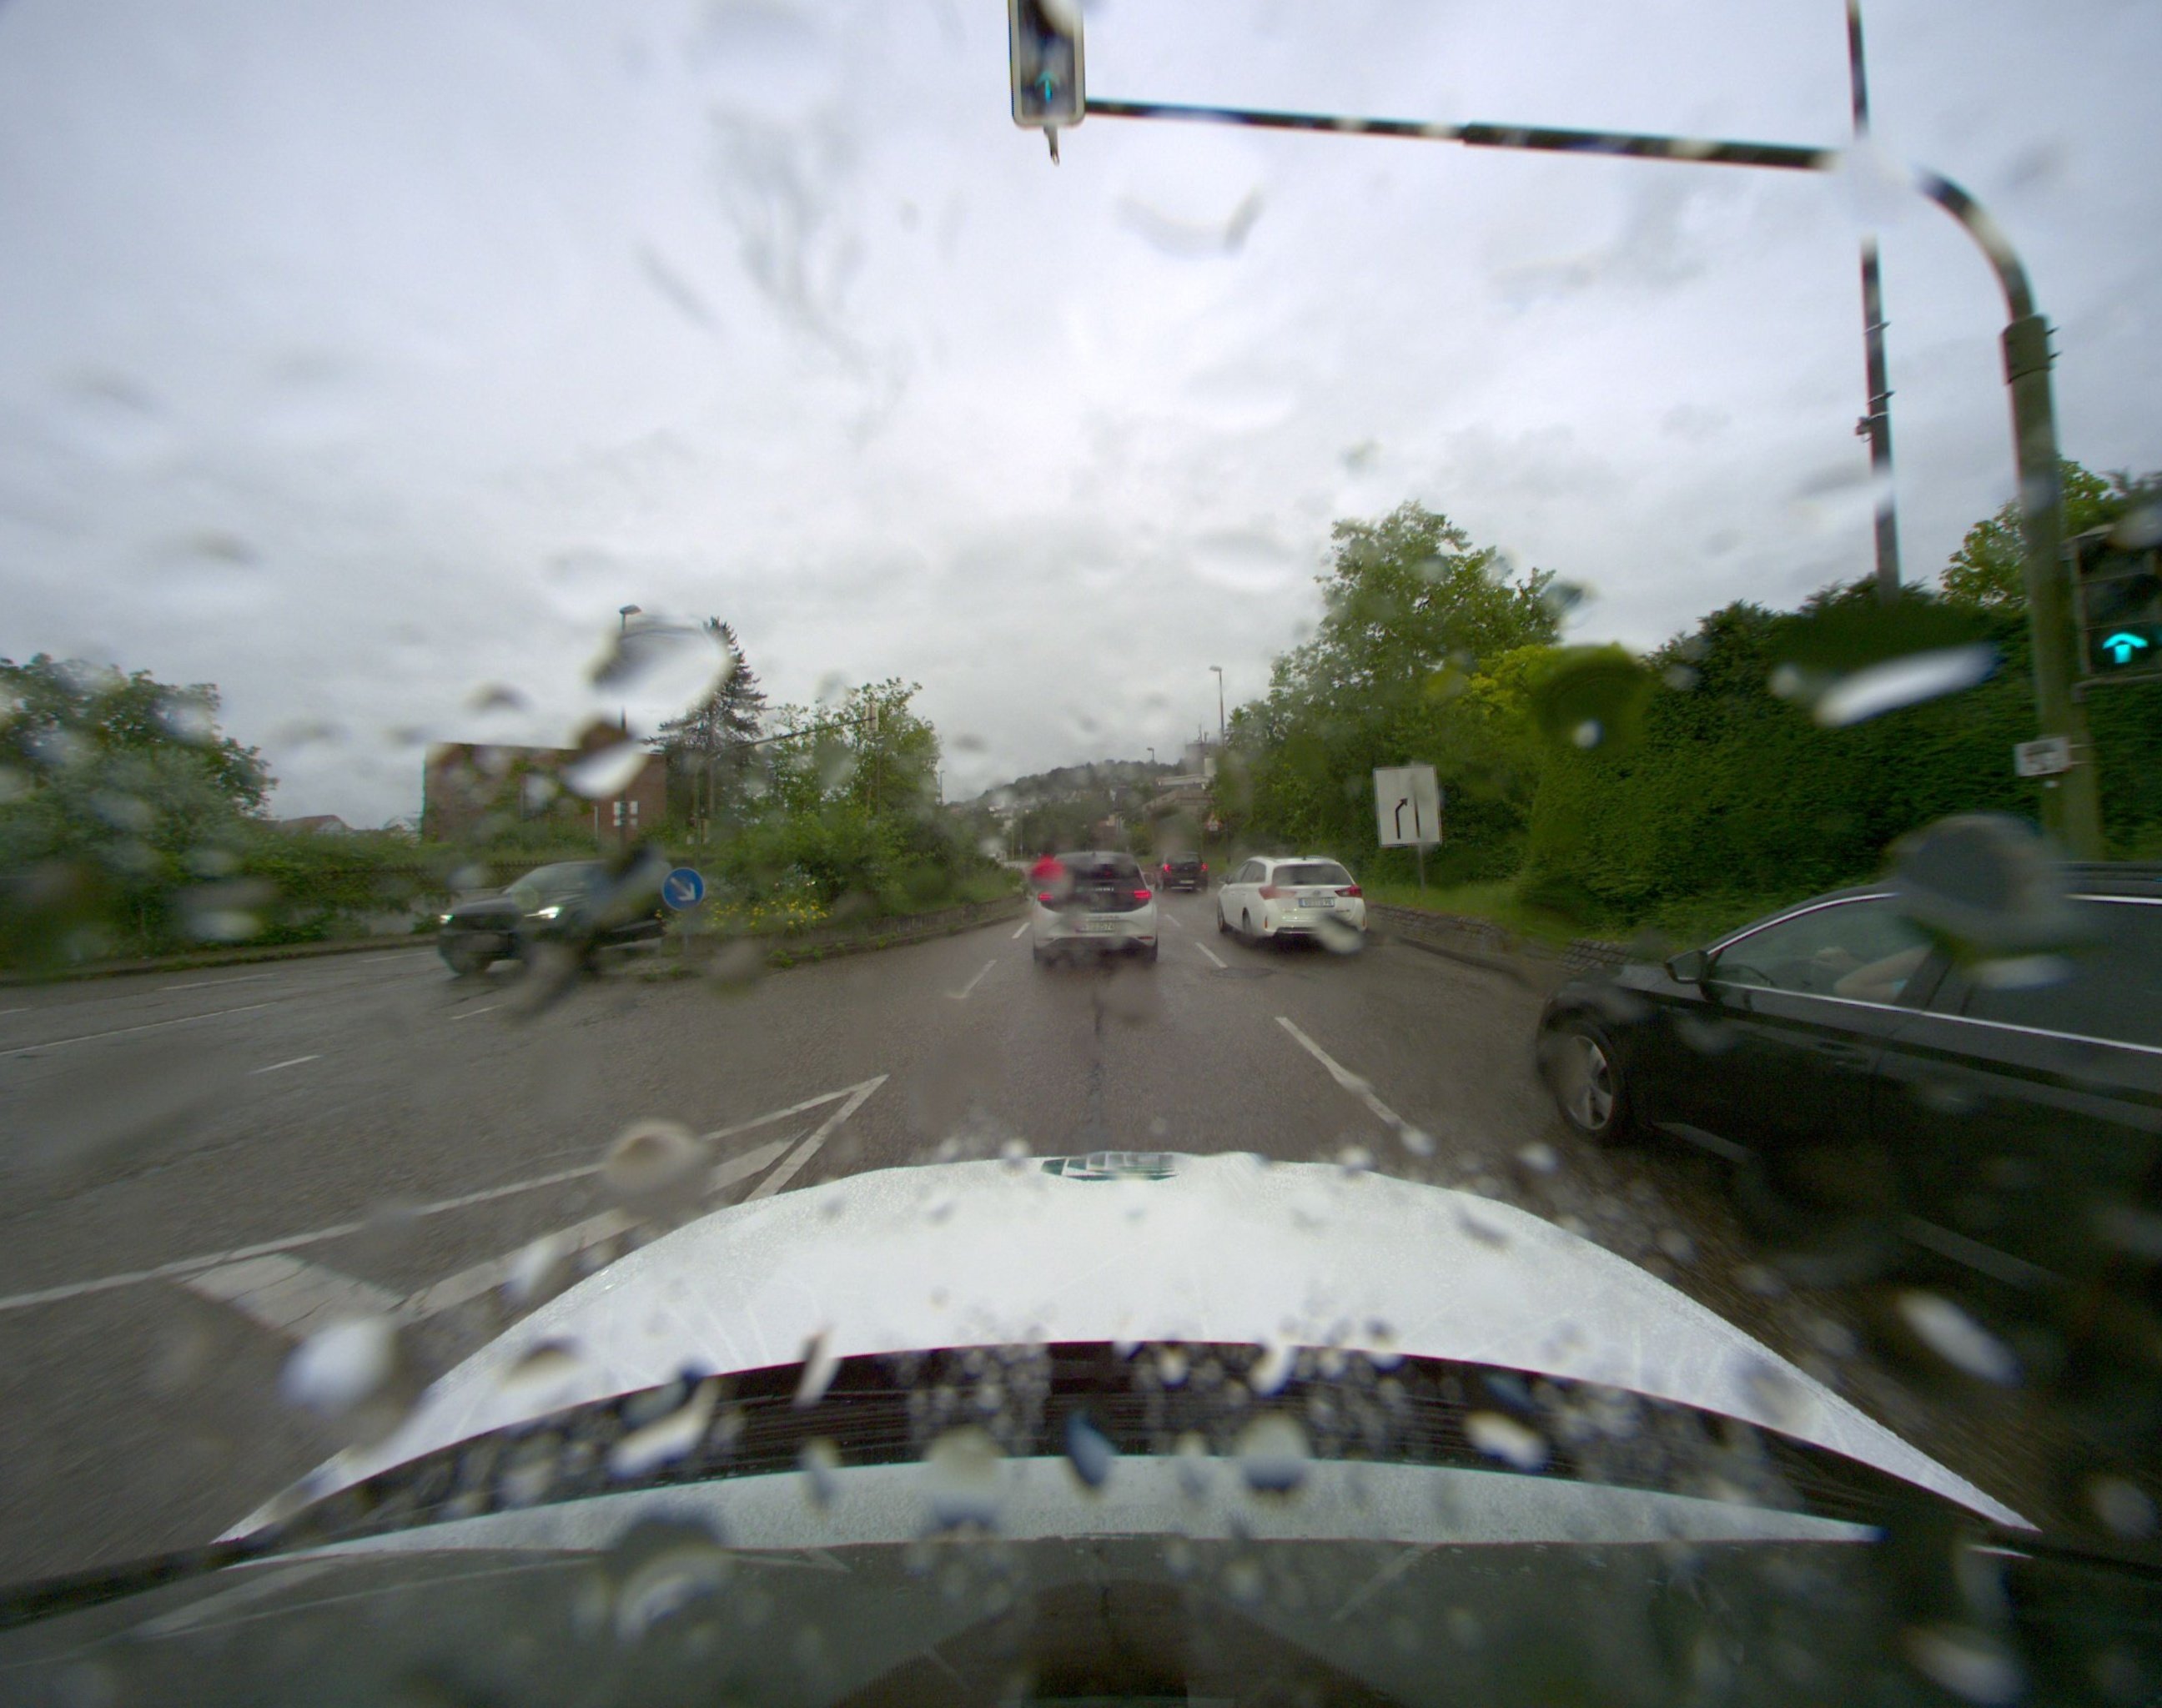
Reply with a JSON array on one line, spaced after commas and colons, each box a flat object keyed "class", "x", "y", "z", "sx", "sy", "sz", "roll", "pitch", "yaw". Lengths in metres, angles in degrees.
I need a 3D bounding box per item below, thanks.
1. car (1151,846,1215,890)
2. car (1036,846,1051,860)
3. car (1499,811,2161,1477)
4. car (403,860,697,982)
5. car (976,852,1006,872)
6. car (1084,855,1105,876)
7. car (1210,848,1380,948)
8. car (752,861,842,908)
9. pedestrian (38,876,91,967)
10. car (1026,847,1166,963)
[{"class": "car", "x": 3.831, "y": 0.524, "z": 31.081, "sx": 1.986, "sy": 1.453, "sz": 3.772, "roll": -4, "pitch": -1, "yaw": 2}, {"class": "car", "x": -5.301, "y": -0.108, "z": 115.972, "sx": 1.987, "sy": 2.014, "sz": 3.999, "roll": 0, "pitch": -1, "yaw": 0}, {"class": "car", "x": 3.444, "y": 0.679, "z": 2.594, "sx": 1.947, "sy": 1.507, "sz": 4.609, "roll": 1, "pitch": -1, "yaw": 1}, {"class": "car", "x": -8.051, "y": 0.905, "z": 12.910, "sx": 1.896, "sy": 1.552, "sz": 4.075, "roll": -2, "pitch": -1, "yaw": 1}, {"class": "car", "x": -7.942, "y": 0.692, "z": 72.093, "sx": 1.987, "sy": 1.662, "sz": 4.598, "roll": -2, "pitch": 0, "yaw": 1}, {"class": "car", "x": 1.373, "y": 1.115, "z": 79.331, "sx": 1.986, "sy": 2.014, "sz": 4.001, "roll": 0, "pitch": -1, "yaw": 2}, {"class": "car", "x": 3.427, "y": 0.657, "z": 13.885, "sx": 1.841, "sy": 1.410, "sz": 4.302, "roll": -1, "pitch": -1, "yaw": 1}, {"class": "car", "x": -10.952, "y": 1.127, "z": 31.694, "sx": 1.987, "sy": 1.578, "sz": 4.000, "roll": -3, "pitch": 0, "yaw": 0}, {"class": "pedestrian", "x": -19.072, "y": 1.251, "z": 15.280, "sx": 0.546, "sy": 1.642, "sz": 0.503, "roll": -4, "pitch": -1, "yaw": 32}, {"class": "car", "x": 0.263, "y": 0.705, "z": 12.847, "sx": 1.822, "sy": 1.500, "sz": 4.170, "roll": -1, "pitch": -1, "yaw": 2}]
